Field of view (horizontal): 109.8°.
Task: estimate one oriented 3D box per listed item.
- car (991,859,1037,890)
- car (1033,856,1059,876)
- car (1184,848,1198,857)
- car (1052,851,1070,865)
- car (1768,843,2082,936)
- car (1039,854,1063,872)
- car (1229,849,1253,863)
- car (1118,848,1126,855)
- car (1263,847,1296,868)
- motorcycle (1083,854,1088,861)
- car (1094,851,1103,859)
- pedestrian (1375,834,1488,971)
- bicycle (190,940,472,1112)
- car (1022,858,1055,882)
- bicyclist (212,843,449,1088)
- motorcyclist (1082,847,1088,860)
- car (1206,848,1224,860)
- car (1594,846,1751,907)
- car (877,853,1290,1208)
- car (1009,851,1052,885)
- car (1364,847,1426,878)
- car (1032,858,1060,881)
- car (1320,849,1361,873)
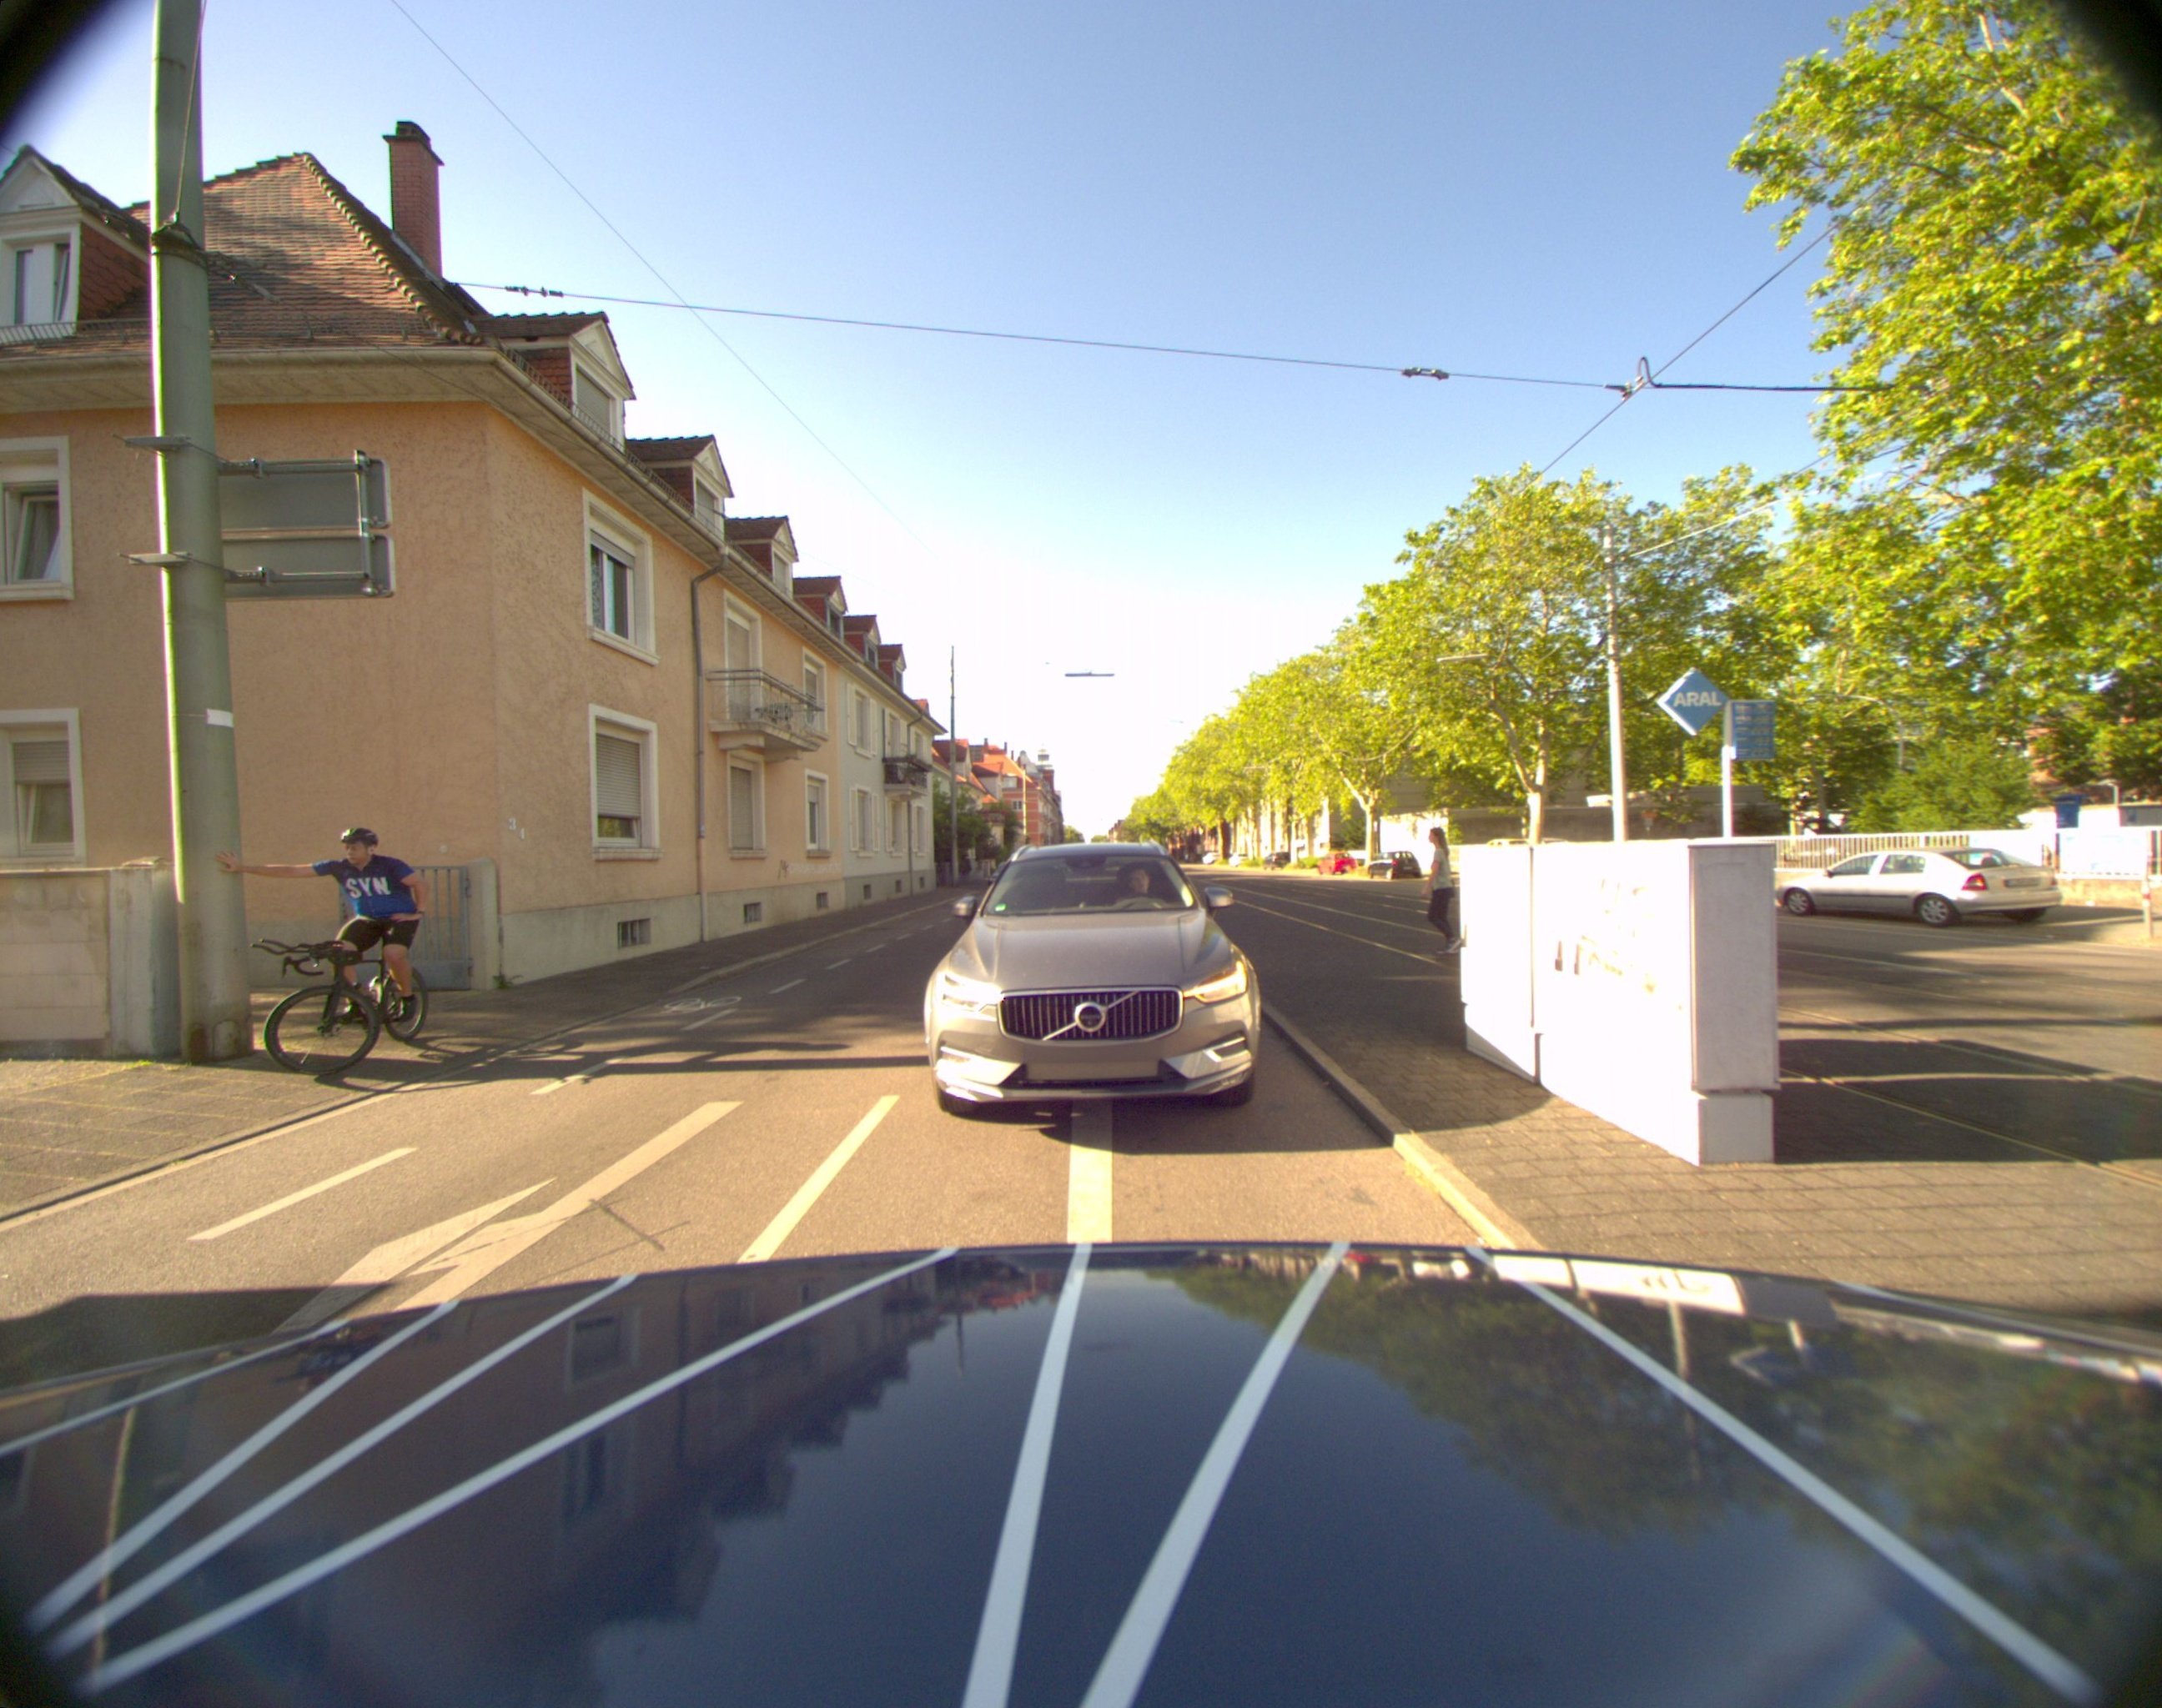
[{"bbox_3d":[-3.213,0.964,37.025,1.647,1.357,3.868,-1,0,4],"label":"car"},{"bbox_3d":[-2.755,0.945,60.675,1.785,1.468,4.000,-1,0,1],"label":"car"},{"bbox_3d":[18.187,-0.218,125.629,1.802,1.504,4.000,-1,0,1],"label":"car"},{"bbox_3d":[-2.210,0.450,85.490,1.875,1.477,4.000,-1,0,1],"label":"car"},{"bbox_3d":[16.245,0.598,14.992,1.795,1.455,3.966,-4,0,2],"label":"car"},{"bbox_3d":[-2.566,0.767,66.828,1.875,1.477,4.000,-1,0,1],"label":"car"},{"bbox_3d":[17.540,0.223,83.427,1.802,1.489,4.000,-1,0,1],"label":"car"},{"bbox_3d":[10.593,-0.696,197.612,1.998,1.652,4.000,-1,0,1],"label":"car"},{"bbox_3d":[17.191,0.288,66.042,1.802,1.652,4.000,-1,0,1],"label":"car"},{"bbox_3d":[0.670,0.483,112.146,0.792,1.095,2.519,0,0,1],"label":"motorcycle"},{"bbox_3d":[3.870,0.206,170.987,1.998,1.543,4.000,-1,0,1],"label":"car"},{"bbox_3d":[4.543,0.593,9.889,0.696,1.652,1.096,-3,1,-31],"label":"pedestrian"},{"bbox_3d":[-5.942,1.301,6.175,0.572,0.986,1.698,2,0,1],"label":"bicycle"},{"bbox_3d":[-2.686,0.991,48.303,1.785,1.346,4.000,-1,0,1],"label":"car"},{"bbox_3d":[-6.147,0.861,6.289,1.076,1.854,0.846,2,1,1],"label":"bicyclist"},{"bbox_3d":[0.646,-0.040,112.239,0.827,1.832,1.159,-2,1,1],"label":"motorcyclist"},{"bbox_3d":[17.726,-0.009,100.672,1.802,1.504,4.000,-1,0,1],"label":"car"},{"bbox_3d":[16.430,0.577,21.340,1.692,1.455,3.519,-4,0,2],"label":"car"},{"bbox_3d":[0.042,0.851,5.801,1.940,1.650,4.321,-1,0,1],"label":"car"},{"bbox_3d":[-2.791,0.715,42.884,1.751,1.767,5.351,-1,0,3],"label":"car"},{"bbox_3d":[16.880,0.423,40.981,1.826,1.521,3.653,-2,0,1],"label":"car"},{"bbox_3d":[-2.470,1.085,54.438,1.785,1.468,4.000,-1,0,1],"label":"car"},{"bbox_3d":[16.940,0.436,49.750,1.641,1.499,3.046,-1,0,1],"label":"car"}]
